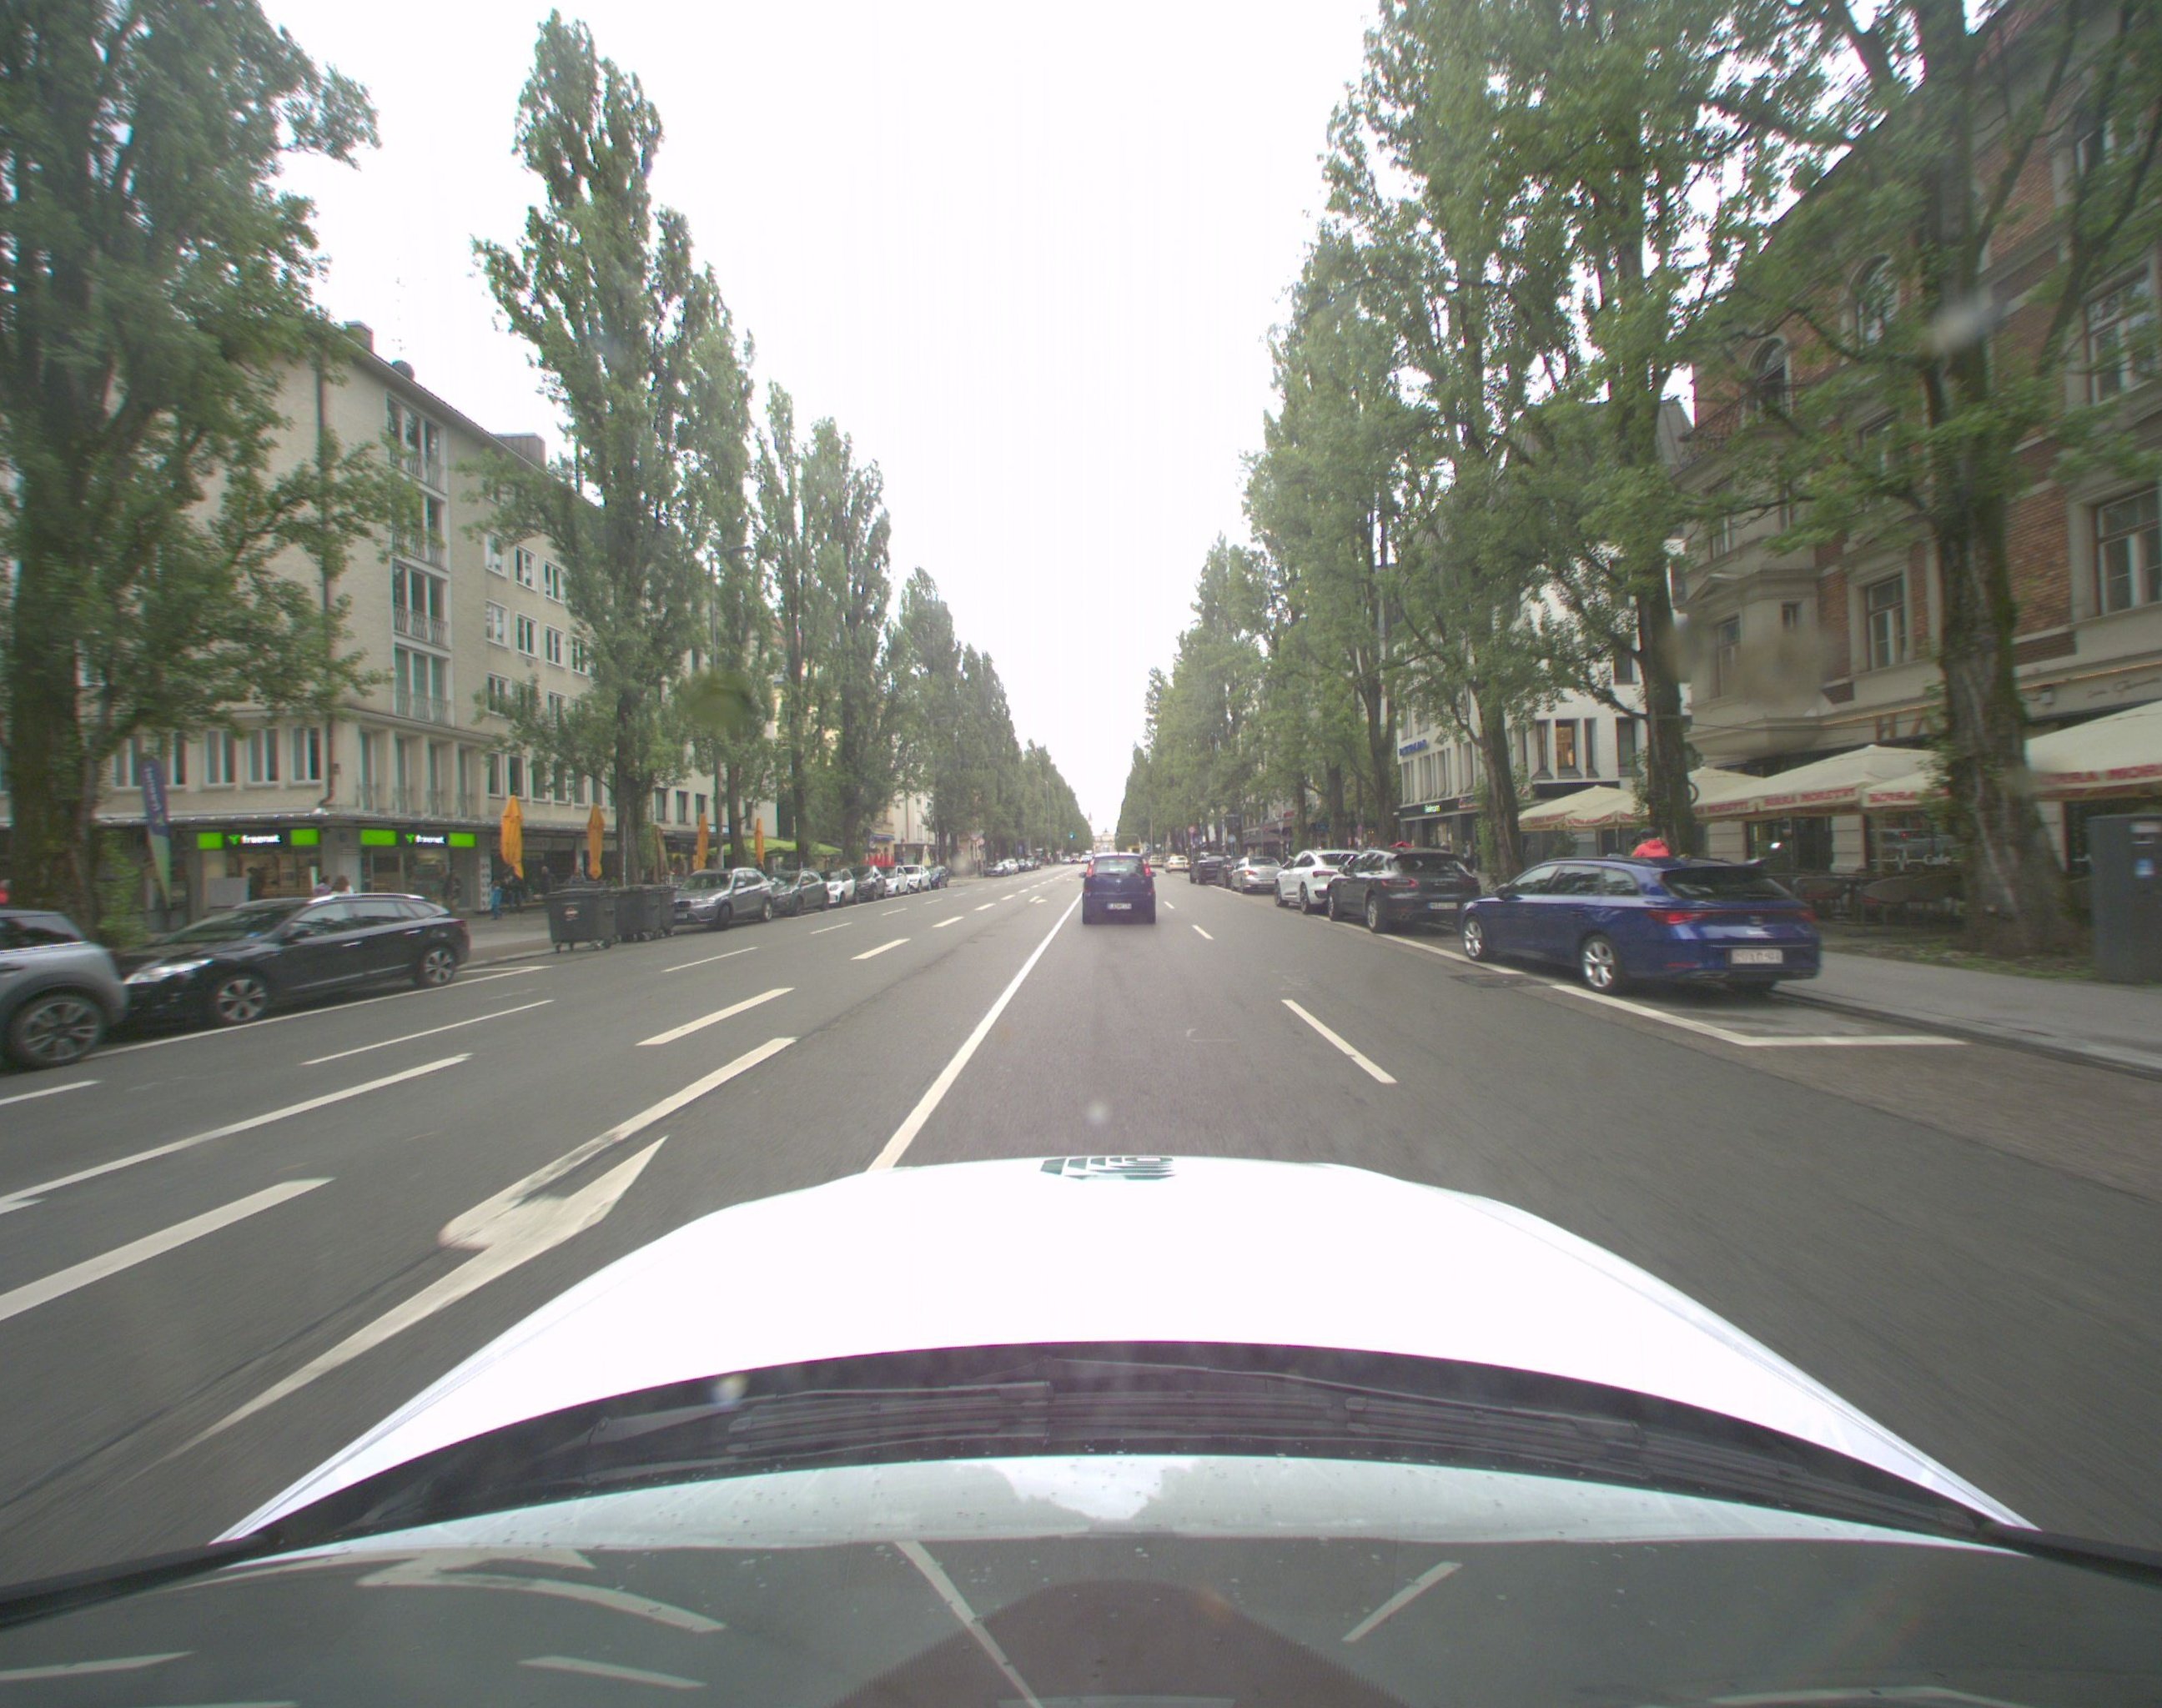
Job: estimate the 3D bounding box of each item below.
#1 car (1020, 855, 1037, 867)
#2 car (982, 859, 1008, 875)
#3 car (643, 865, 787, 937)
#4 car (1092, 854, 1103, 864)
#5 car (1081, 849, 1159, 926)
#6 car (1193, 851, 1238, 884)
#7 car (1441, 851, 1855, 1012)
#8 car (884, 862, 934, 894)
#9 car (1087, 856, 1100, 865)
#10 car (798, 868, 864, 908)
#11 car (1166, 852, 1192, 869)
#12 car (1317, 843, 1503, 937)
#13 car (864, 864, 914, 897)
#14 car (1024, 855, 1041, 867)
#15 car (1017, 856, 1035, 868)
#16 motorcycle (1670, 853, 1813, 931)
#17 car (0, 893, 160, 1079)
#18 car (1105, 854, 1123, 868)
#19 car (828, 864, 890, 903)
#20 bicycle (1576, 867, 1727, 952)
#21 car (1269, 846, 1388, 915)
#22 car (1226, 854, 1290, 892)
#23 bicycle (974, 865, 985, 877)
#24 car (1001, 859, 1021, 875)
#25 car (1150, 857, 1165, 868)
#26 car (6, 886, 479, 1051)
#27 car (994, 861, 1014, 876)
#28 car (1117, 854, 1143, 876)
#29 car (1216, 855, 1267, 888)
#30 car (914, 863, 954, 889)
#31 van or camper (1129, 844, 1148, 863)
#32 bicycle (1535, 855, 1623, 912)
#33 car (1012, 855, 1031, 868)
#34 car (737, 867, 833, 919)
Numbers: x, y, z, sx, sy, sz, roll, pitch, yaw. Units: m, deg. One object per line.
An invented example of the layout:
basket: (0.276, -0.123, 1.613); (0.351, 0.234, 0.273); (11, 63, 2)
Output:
car: (-7.135, 0.958, 110.657); (1.955, 1.549, 3.779); (-2, 0, 1)
car: (-8.156, 1.237, 77.482); (1.823, 1.420, 3.812); (-2, 0, 1)
car: (-10.275, 1.245, 23.314); (1.858, 1.654, 4.616); (-4, 0, 1)
car: (3.003, 0.843, 148.708); (1.828, 1.761, 3.779); (-2, 0, 1)
car: (0.875, 0.732, 19.805); (1.675, 1.641, 4.000); (-1, 0, 1)
car: (6.874, 0.681, 42.094); (1.791, 1.594, 4.106); (0, 0, 2)
car: (6.178, 0.712, 9.683); (1.744, 1.405, 4.463); (-2, 0, -1)
car: (-9.423, 1.285, 44.982); (1.829, 1.546, 4.085); (-2, 0, 0)
car: (2.118, 1.027, 136.971); (1.955, 1.399, 3.779); (-2, 0, 1)
car: (-9.978, 1.341, 32.659); (1.626, 1.428, 2.983); (-2, 0, 0)
car: (8.261, 0.550, 68.952); (1.890, 1.362, 3.901); (-2, 0, 2)
car: (6.413, 0.634, 16.515); (1.986, 1.565, 4.484); (-2, 0, 1)
car: (-9.631, 1.305, 41.013); (1.566, 1.534, 2.925); (-2, 0, 4)
car: (-6.983, 1.041, 117.383); (1.986, 1.662, 4.001); (-2, 0, 1)
car: (-7.191, 1.044, 106.672); (1.955, 1.399, 3.779); (-2, 0, 1)
motorcycle: (10.874, 0.608, 13.441); (1.826, 1.179, 0.695); (-2, 0, -5)
car: (-10.453, 1.244, 6.309); (1.775, 1.575, 4.134); (-4, 0, 2)
car: (3.808, 0.845, 94.666); (1.987, 1.497, 4.000); (-2, 0, 1)
car: (-9.893, 1.285, 36.597); (1.836, 1.565, 4.174); (-2, 0, -4)
bicycle: (8.309, 0.757, 12.010); (0.624, 1.087, 2.264); (-2, 0, 1)
car: (6.429, 0.629, 21.726); (1.821, 1.621, 4.748); (-1, 0, 1)
car: (6.880, 0.707, 31.990); (1.664, 1.406, 4.128); (0, 0, 1)
bicycle: (-8.931, 1.479, 71.969); (0.664, 1.006, 2.460); (-2, 0, -2)
car: (-7.596, 1.387, 88.529); (1.648, 1.562, 3.458); (-2, 0, 1)
car: (9.713, 1.047, 103.585); (1.663, 1.352, 4.106); (-2, 0, 2)
car: (-10.629, 1.317, 10.922); (1.657, 1.504, 4.316); (-4, 0, 3)
car: (-7.874, 1.481, 83.430); (1.541, 1.453, 3.458); (-2, 0, 2)
car: (3.618, 0.798, 60.923); (1.700, 1.574, 4.001); (-2, 0, 1)
car: (7.166, 0.769, 36.662); (1.676, 1.415, 3.583); (0, 0, 1)
car: (-9.046, 1.352, 50.264); (1.579, 1.447, 3.394); (-2, 0, 4)
van or camper: (8.060, -0.083, 114.407); (2.467, 2.581, 5.847); (-2, 0, 2)
bicycle: (11.105, 0.649, 18.173); (1.707, 1.192, 0.420); (-2, 0, -3)
car: (-7.373, 0.875, 100.458); (1.955, 1.530, 4.000); (-2, 0, 0)
car: (-9.997, 1.265, 27.847); (1.692, 1.550, 4.082); (-2, 0, 1)
